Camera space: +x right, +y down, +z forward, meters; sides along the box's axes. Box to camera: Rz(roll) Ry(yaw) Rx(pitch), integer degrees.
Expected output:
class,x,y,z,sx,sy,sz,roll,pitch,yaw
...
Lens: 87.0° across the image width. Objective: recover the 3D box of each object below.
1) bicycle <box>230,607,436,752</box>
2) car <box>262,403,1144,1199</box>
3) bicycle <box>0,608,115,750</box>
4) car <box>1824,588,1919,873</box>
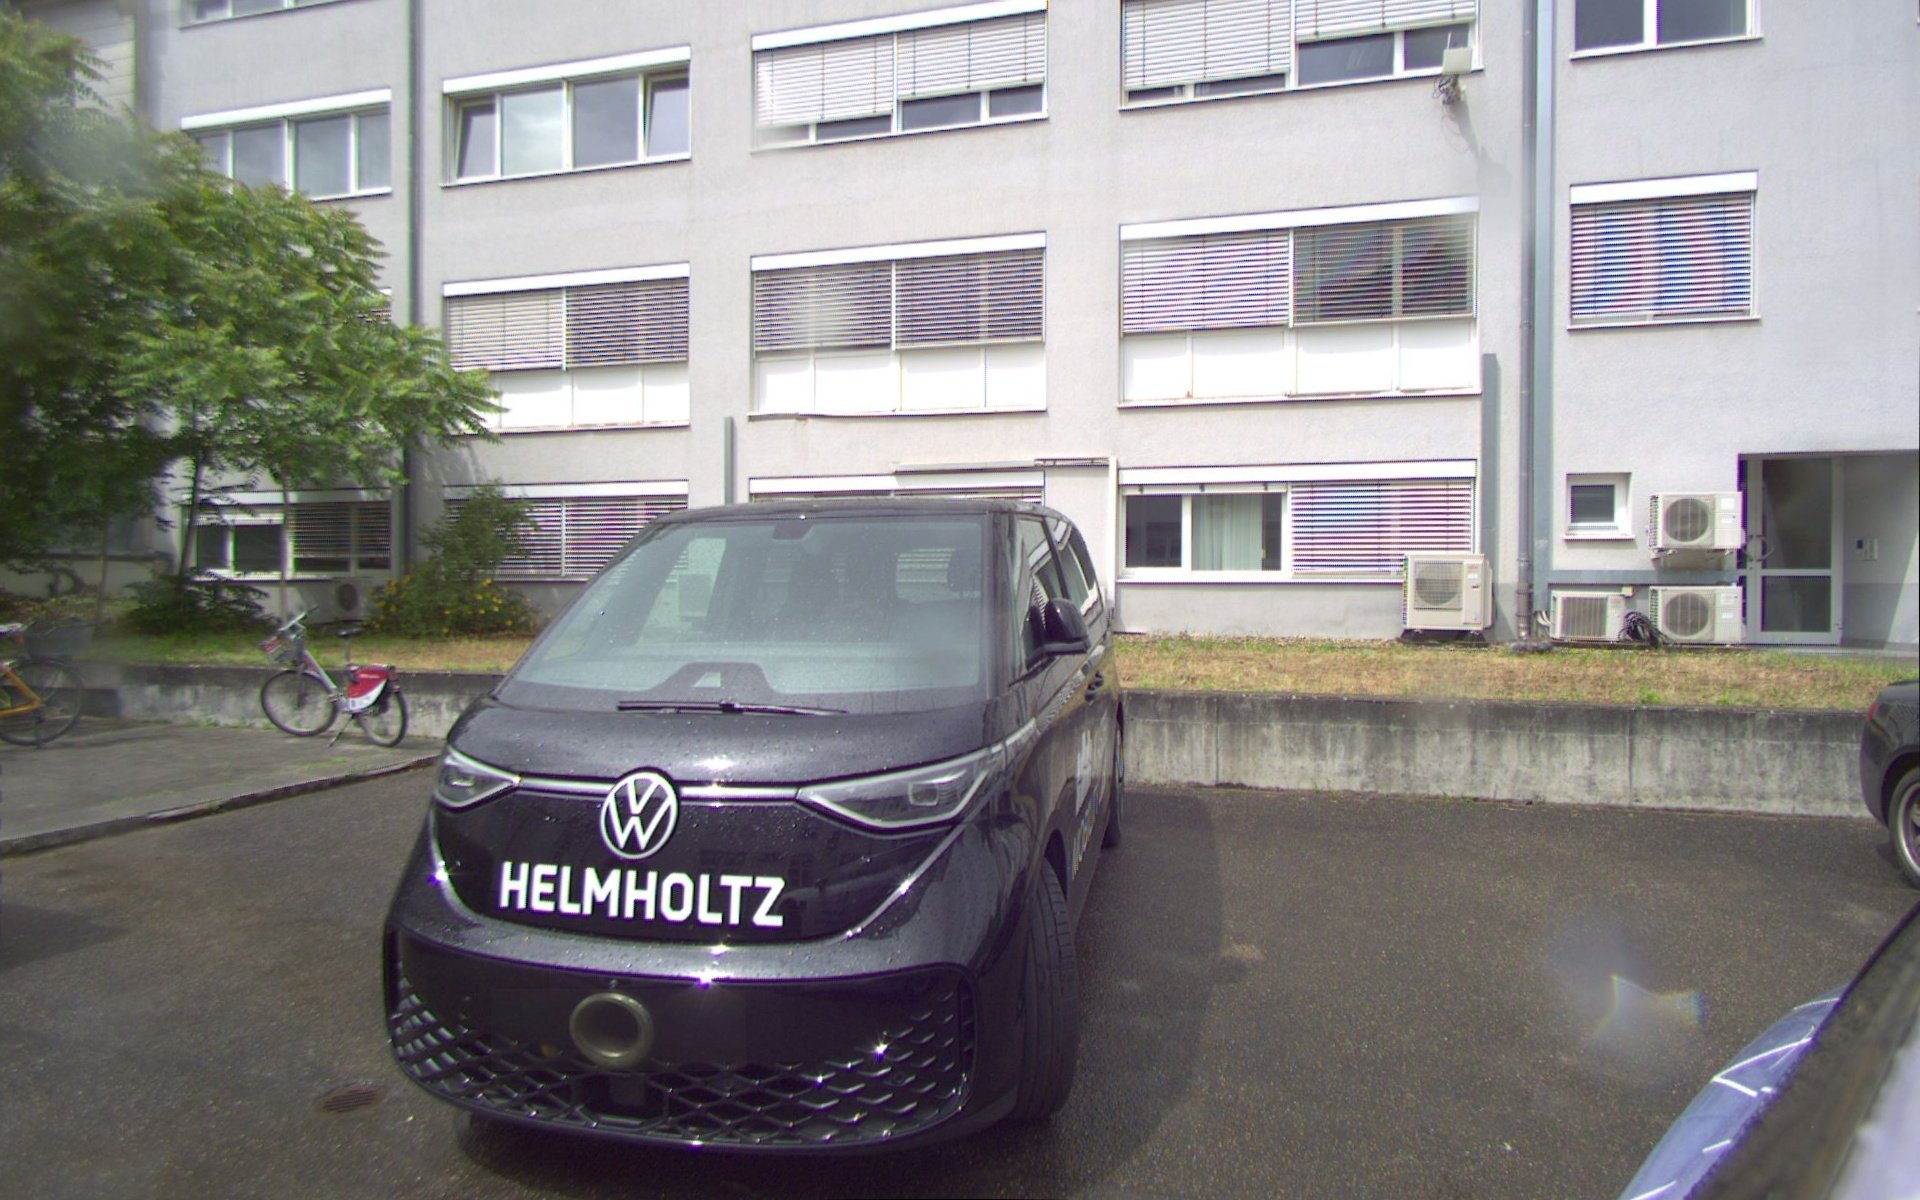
class,x,y,z,sx,sy,sz,roll,pitch,yaw
bicycle,-5.361,0.643,8.645,1.772,1.117,0.444,1,3,18
car,-0.250,0.477,4.579,1.940,1.888,4.731,0,2,13
bicycle,-7.879,0.638,8.084,0.363,1.118,1.784,1,1,21
car,5.167,0.687,3.287,1.737,1.369,4.511,0,2,14
